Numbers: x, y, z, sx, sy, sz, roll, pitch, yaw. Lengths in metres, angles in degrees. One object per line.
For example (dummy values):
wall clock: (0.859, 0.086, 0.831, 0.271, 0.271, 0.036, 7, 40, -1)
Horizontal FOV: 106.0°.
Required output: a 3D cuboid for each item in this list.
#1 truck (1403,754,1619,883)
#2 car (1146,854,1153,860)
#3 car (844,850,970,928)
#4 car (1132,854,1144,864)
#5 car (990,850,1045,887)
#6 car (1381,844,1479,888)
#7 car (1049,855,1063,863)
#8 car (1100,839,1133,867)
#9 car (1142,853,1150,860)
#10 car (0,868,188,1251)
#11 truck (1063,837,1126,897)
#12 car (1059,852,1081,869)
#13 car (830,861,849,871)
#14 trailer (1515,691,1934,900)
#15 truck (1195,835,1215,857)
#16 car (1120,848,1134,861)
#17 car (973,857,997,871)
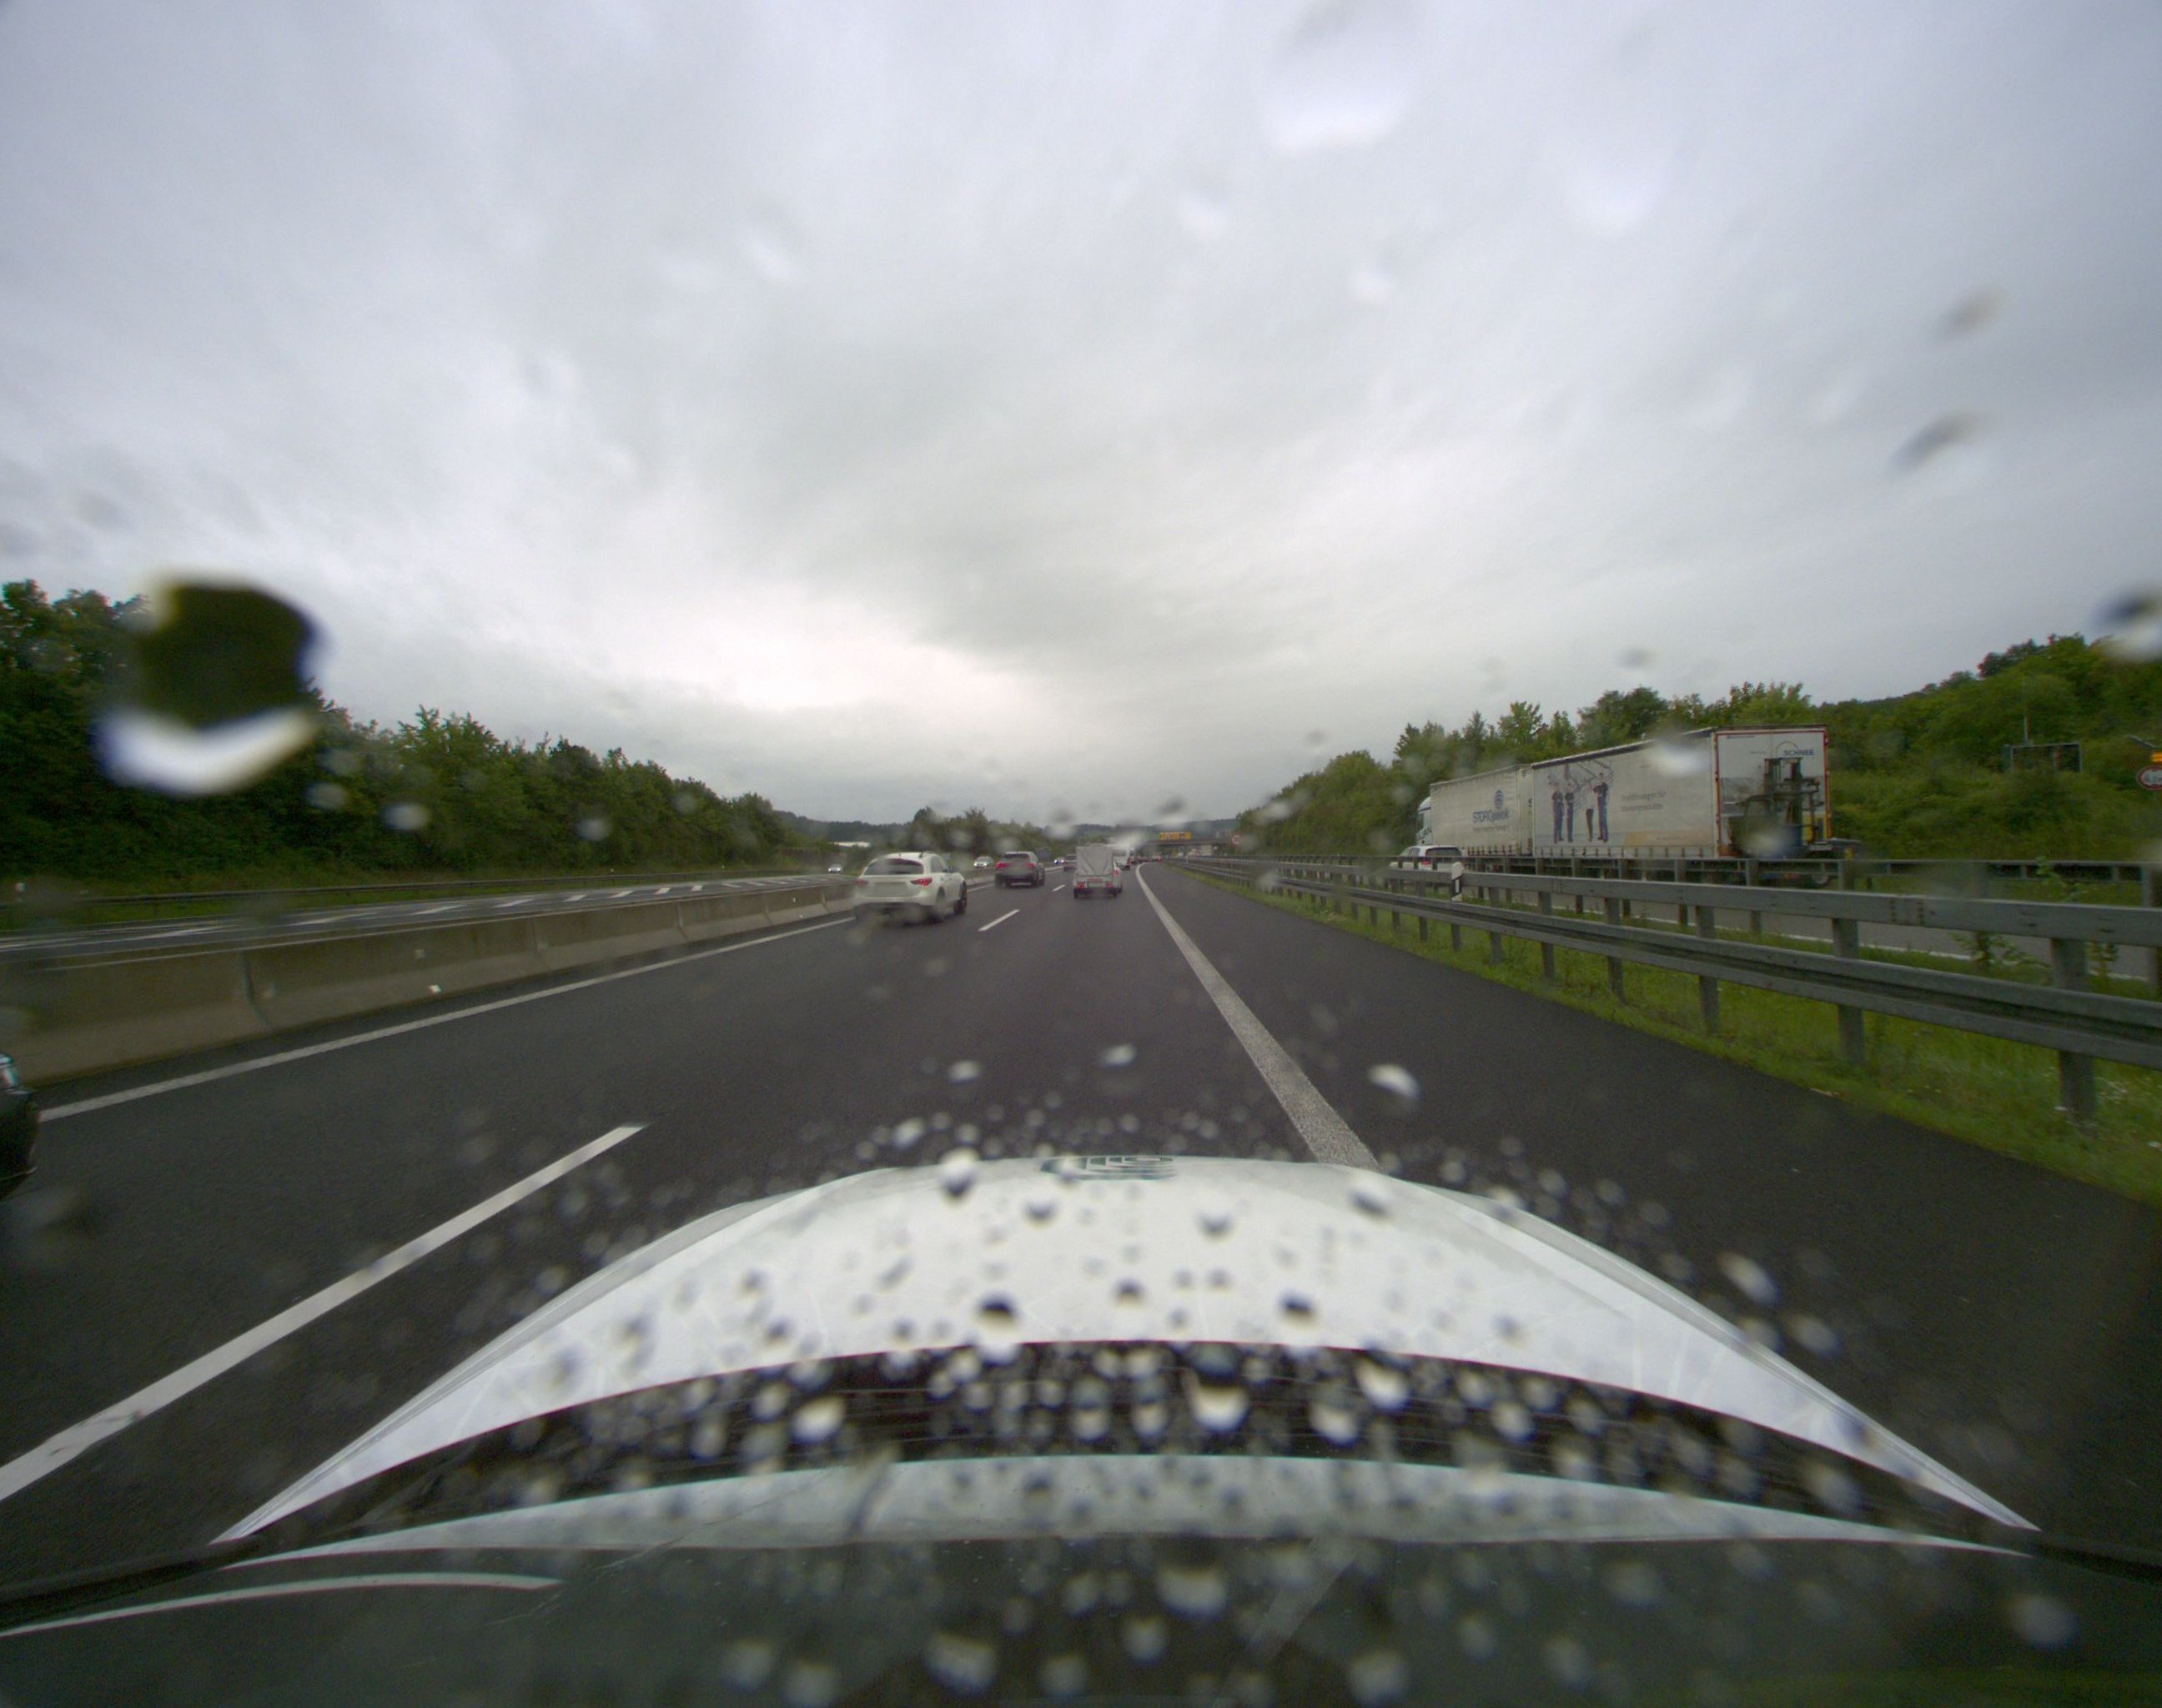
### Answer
truck: (16.626, -1.223, 32.792, 3.424, 4.289, 10.423, -1, 0, 2)
car: (19.660, 0.811, 234.110, 1.983, 1.750, 4.007, -1, 0, 6)
car: (-4.090, 0.766, 19.904, 1.969, 1.639, 4.502, -1, 0, 1)
car: (10.155, 0.969, 146.210, 1.986, 1.750, 4.001, 0, 0, 1)
car: (-3.025, 0.668, 39.601, 2.166, 1.631, 4.502, -1, 0, 1)
car: (12.597, 0.398, 29.681, 1.853, 1.447, 4.159, -1, 0, 1)
car: (-5.320, 1.062, 173.038, 2.169, 1.695, 5.259, -1, 0, 6)
car: (3.650, -0.096, 82.379, 3.002, 2.616, 6.084, -2, 0, 6)
car: (16.185, 0.531, 202.085, 1.984, 1.750, 4.006, 0, 0, 5)
car: (-5.292, 0.846, 1.463, 1.893, 1.497, 4.854, -1, 0, 2)
truck: (0.662, 0.443, 31.260, 2.010, 1.985, 7.220, -1, 0, 4)
car: (-1.087, 0.589, 79.894, 1.893, 1.613, 4.020, -1, 0, 3)
car: (-38.051, 1.825, 128.340, 2.177, 1.430, 4.378, -1, 0, -6)
trailer: (16.264, -1.232, 22.288, 3.424, 4.289, 10.459, -1, 0, 2)
truck: (30.877, -1.954, 203.366, 4.074, 5.103, 10.478, -1, 0, 5)
car: (7.123, 0.097, 125.345, 1.986, 2.036, 4.153, 0, 0, 1)
car: (-11.901, 1.175, 101.271, 2.170, 1.635, 4.542, -1, 0, 4)
